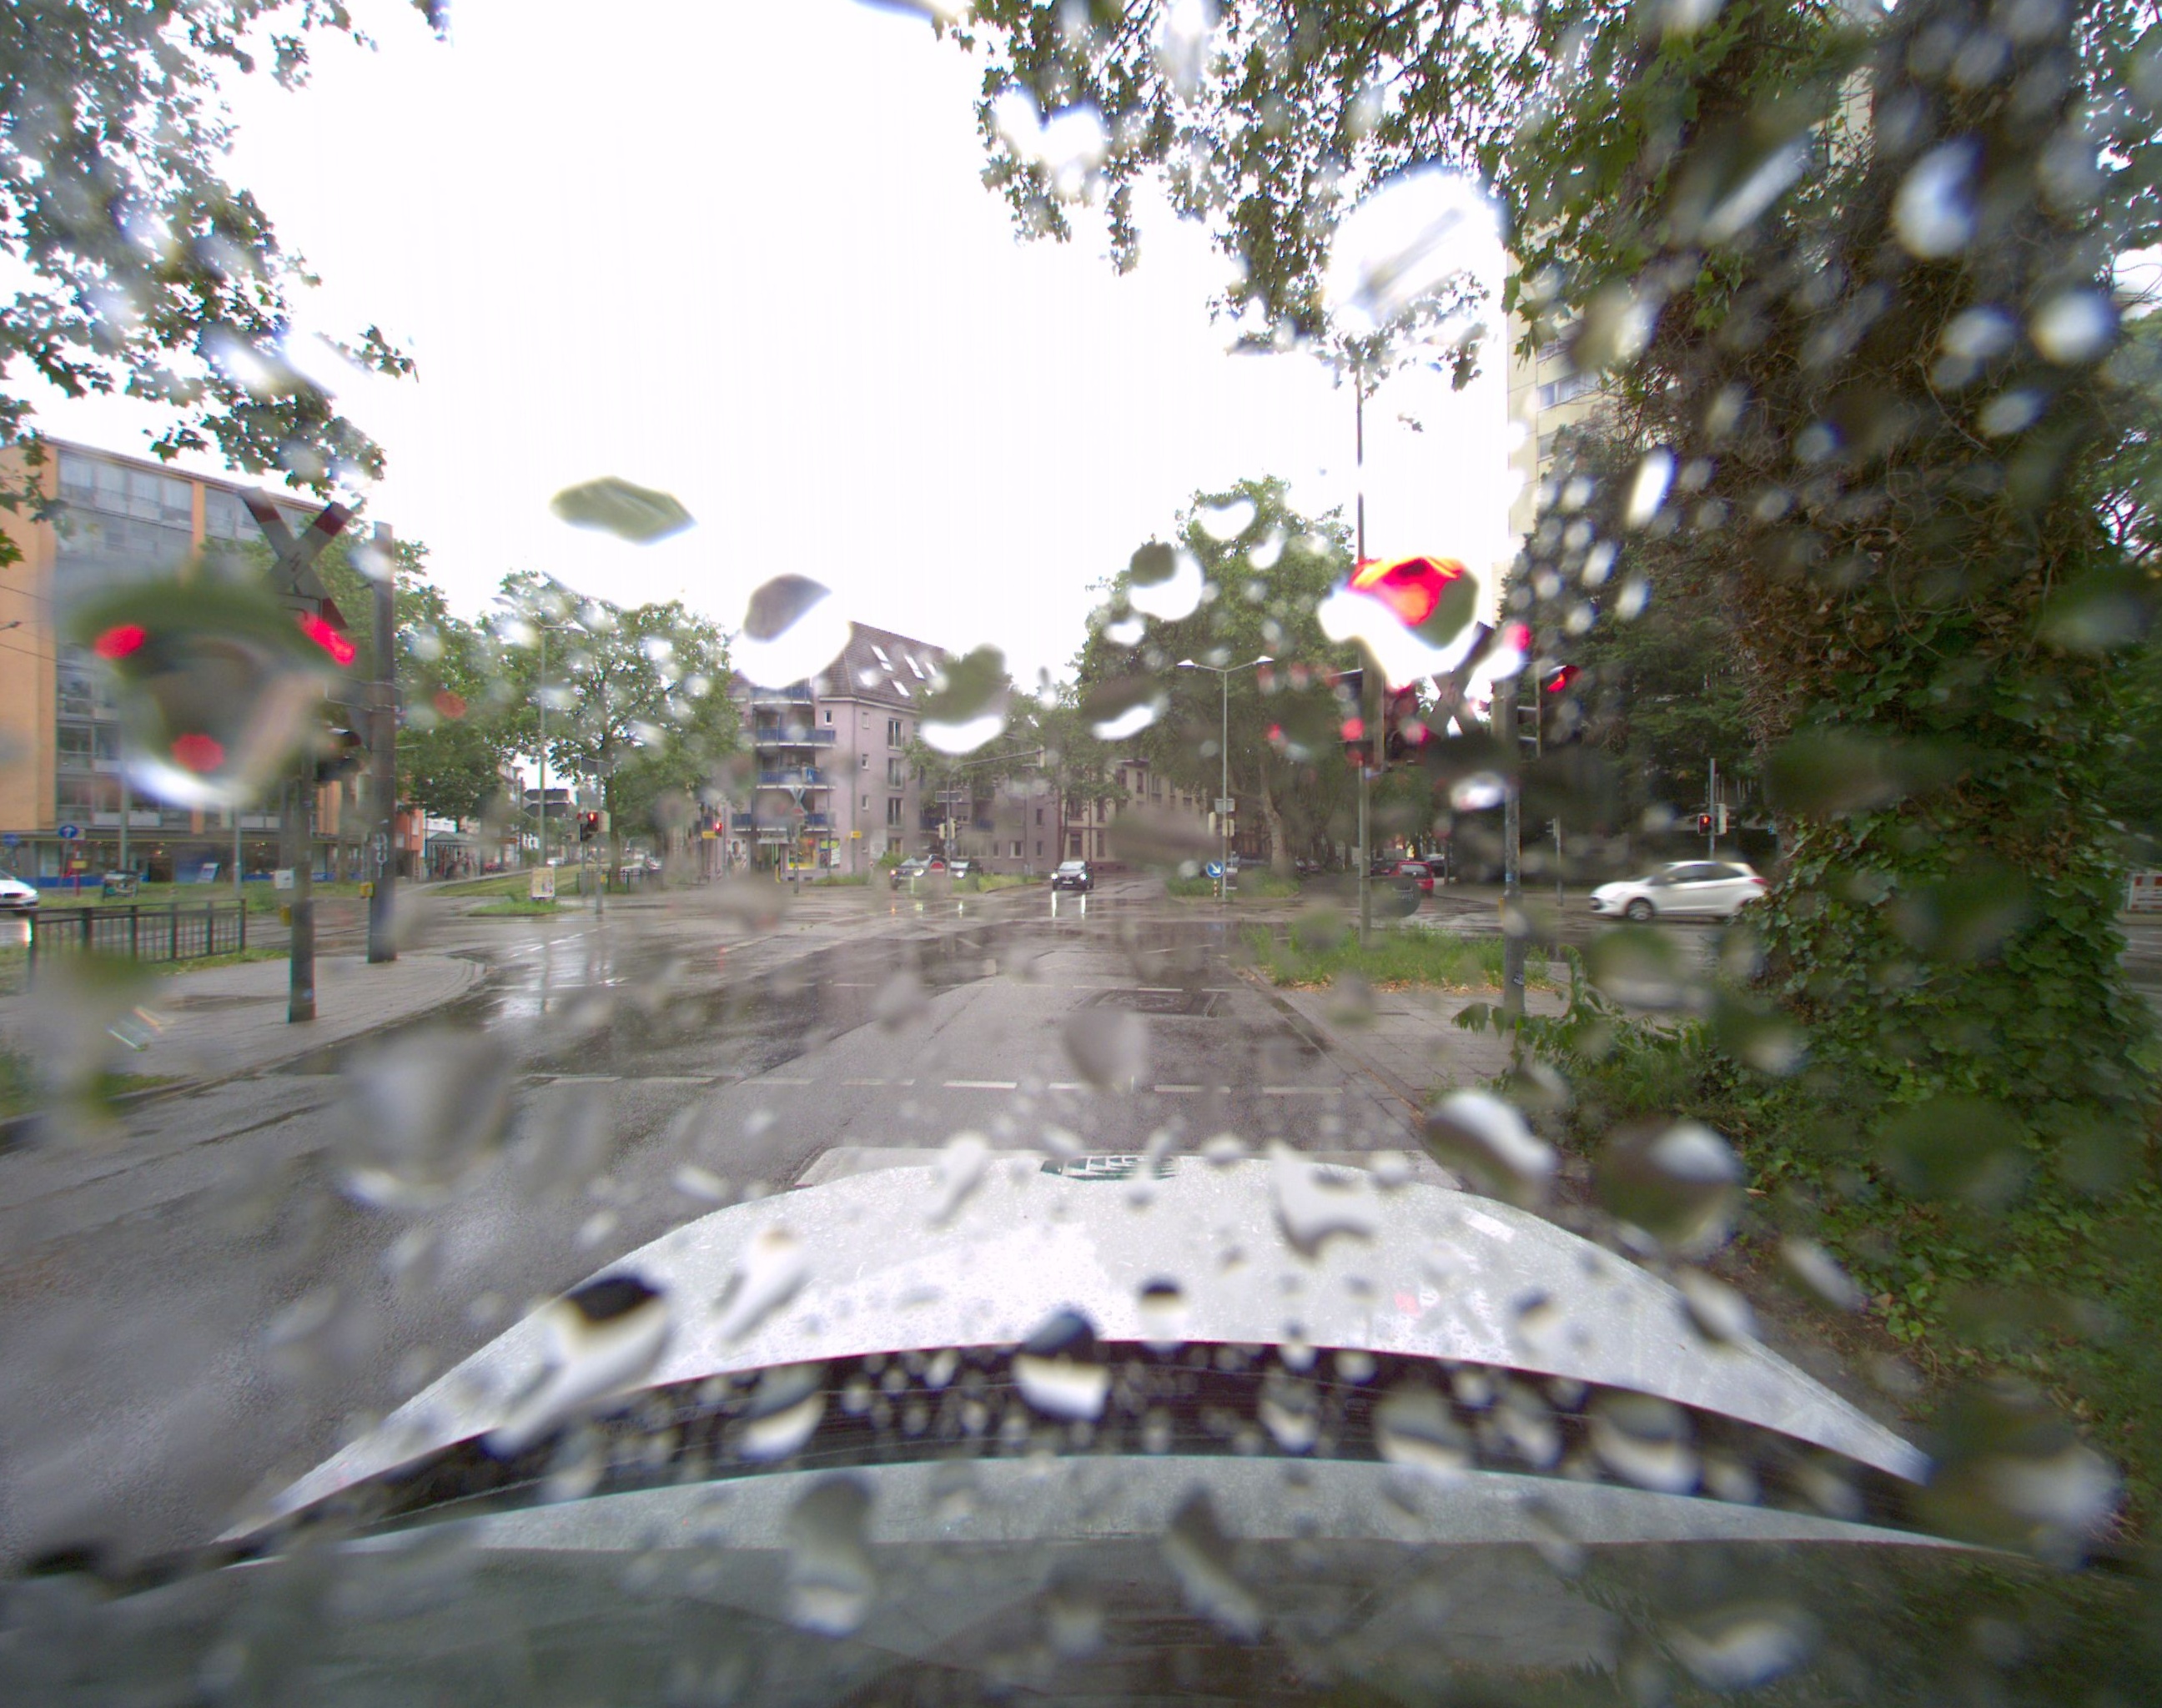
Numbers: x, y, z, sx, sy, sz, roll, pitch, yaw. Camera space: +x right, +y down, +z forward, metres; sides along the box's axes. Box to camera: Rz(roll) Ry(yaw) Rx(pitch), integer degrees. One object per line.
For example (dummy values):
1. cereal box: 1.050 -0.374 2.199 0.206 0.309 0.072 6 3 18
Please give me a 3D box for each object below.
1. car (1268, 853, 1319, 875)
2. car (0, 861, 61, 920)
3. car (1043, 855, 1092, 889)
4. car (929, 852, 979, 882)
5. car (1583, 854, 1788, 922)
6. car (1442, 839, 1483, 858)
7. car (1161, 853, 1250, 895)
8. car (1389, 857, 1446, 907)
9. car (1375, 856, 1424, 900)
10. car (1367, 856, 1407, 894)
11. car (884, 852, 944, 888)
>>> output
1. car: 16.970 0.778 65.004 3.571 1.618 1.692 -2 0 30
2. car: -32.164 1.094 23.415 3.978 1.651 1.980 -2 0 13
3. car: -0.626 0.873 41.139 1.591 1.552 3.572 -2 0 13
4. car: -6.992 0.692 45.259 1.715 1.552 3.567 -2 0 8
5. car: 14.487 0.819 19.750 3.612 1.486 1.733 -2 0 17
6. car: 42.603 -0.632 91.095 3.953 2.013 1.716 -2 0 21
7. car: 5.072 0.800 33.043 3.457 1.523 1.524 -2 0 10
8. car: 14.865 1.194 36.192 1.977 2.013 4.019 -2 0 18
9. car: 15.869 1.156 40.756 1.977 2.013 4.019 -2 0 18
10. car: 17.829 1.201 47.600 1.977 2.013 4.019 -2 0 18
11. car: -7.974 0.731 39.161 1.715 1.552 3.567 -2 0 8
